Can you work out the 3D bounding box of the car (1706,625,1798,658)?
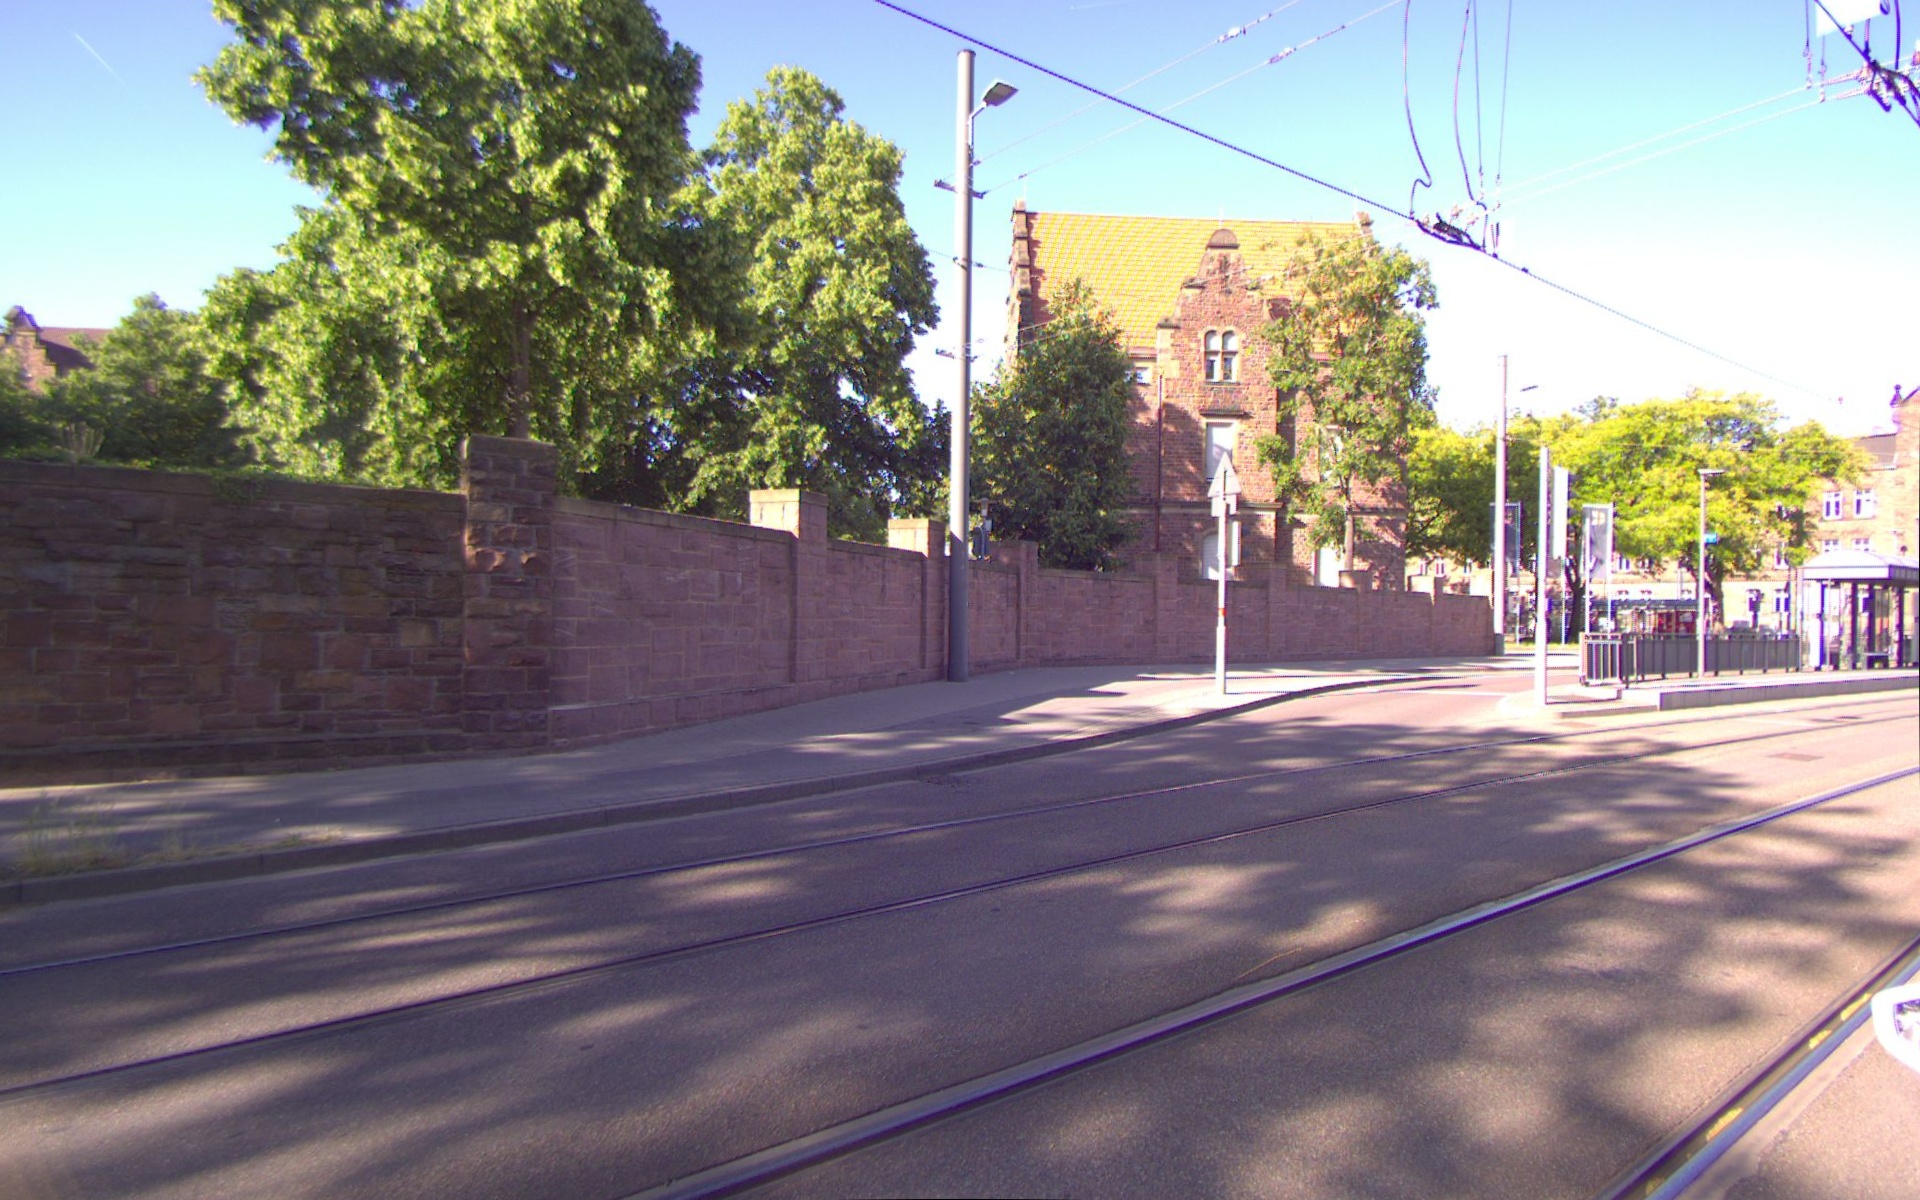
[{"bbox_3d":[47.474,2.449,60.280,1.981,1.813,3.959,1,0,-36],"label":"car"}]
